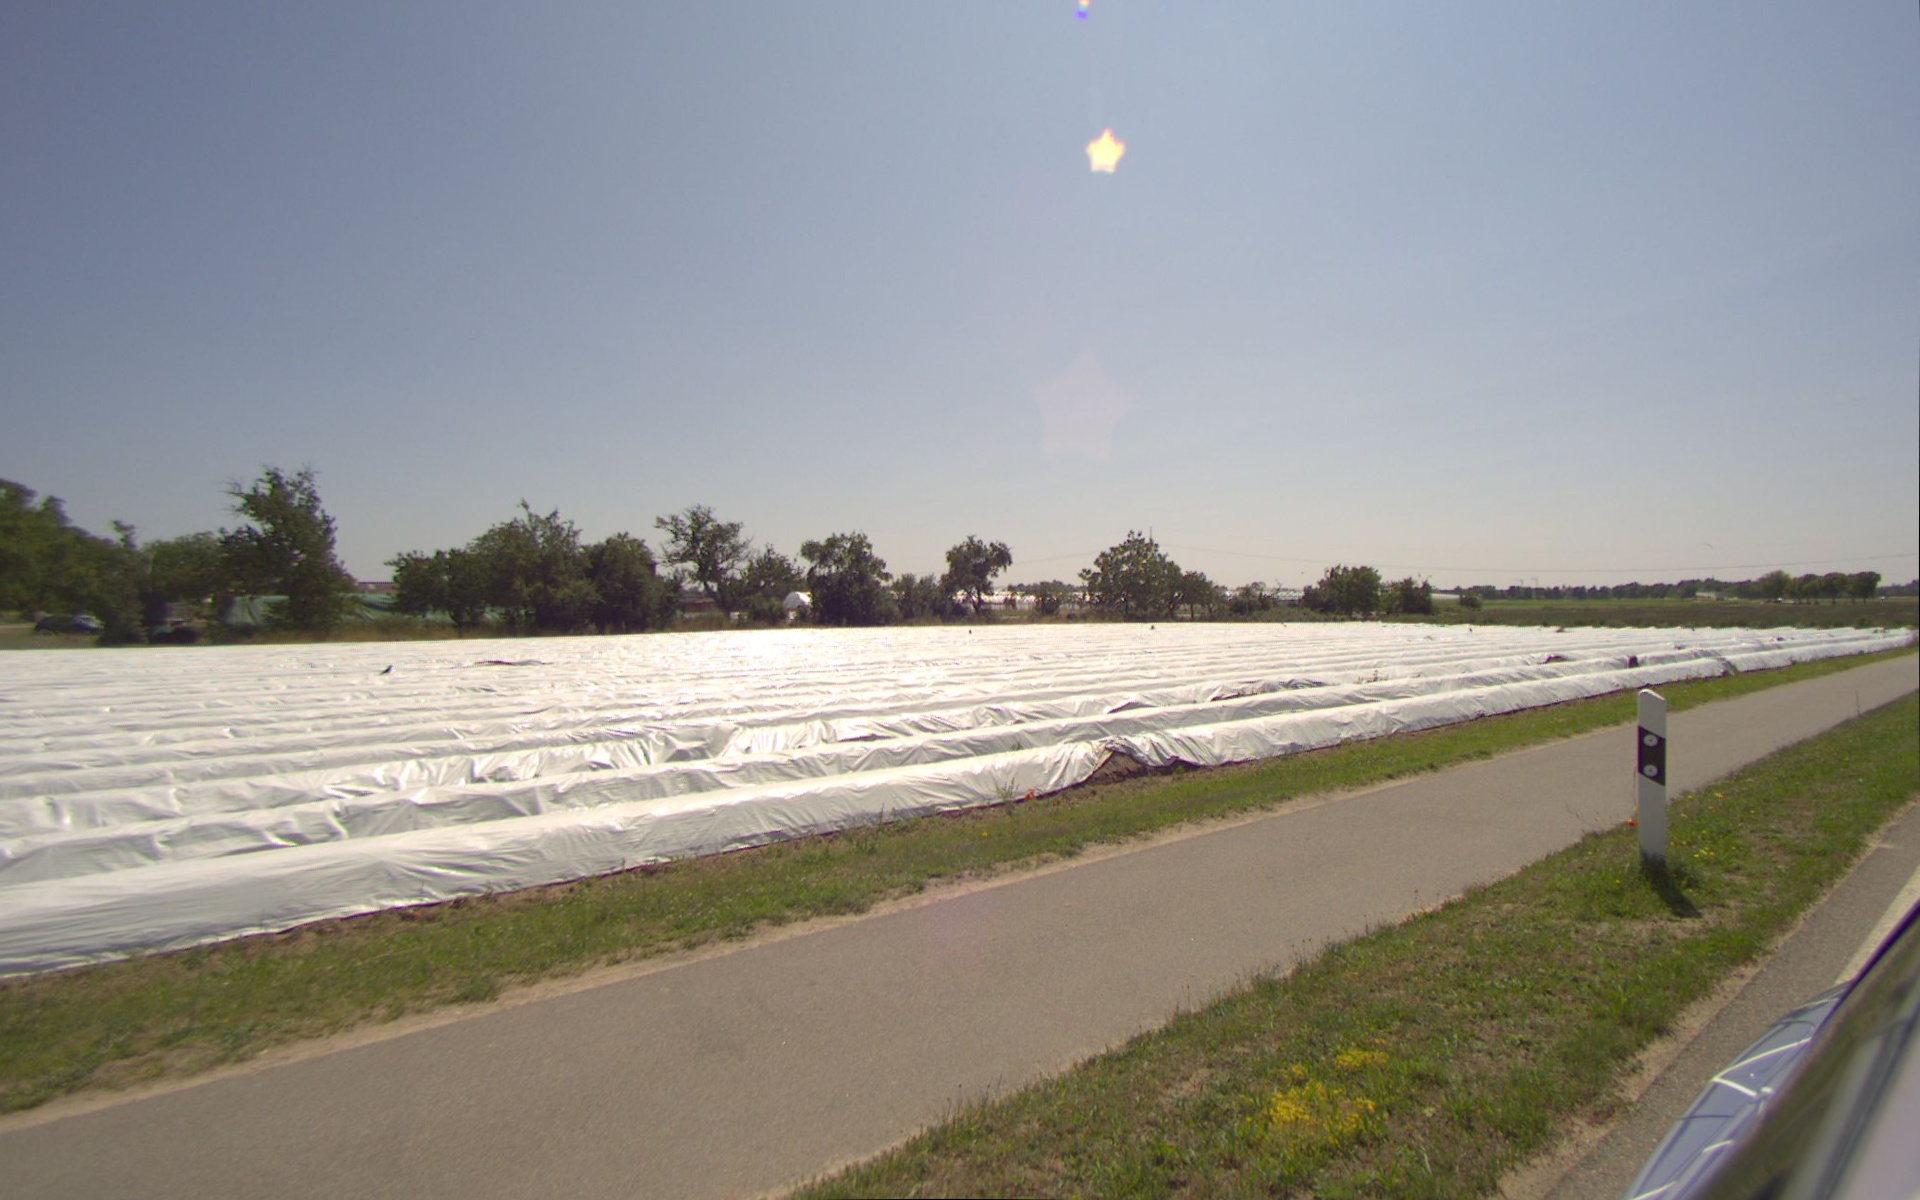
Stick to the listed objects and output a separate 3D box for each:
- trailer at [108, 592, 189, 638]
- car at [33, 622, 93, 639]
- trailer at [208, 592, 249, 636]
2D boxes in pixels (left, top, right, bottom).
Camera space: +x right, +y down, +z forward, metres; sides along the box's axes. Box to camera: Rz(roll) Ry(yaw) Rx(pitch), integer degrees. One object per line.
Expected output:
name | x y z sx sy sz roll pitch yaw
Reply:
trailer | -62.782 1.134 78.542 3.192 3.335 7.452 -1 -1 -25
car | -67.434 2.259 76.112 3.217 1.213 1.296 0 -1 -35
trailer | -75.200 1.472 103.971 3.100 4.275 7.434 -1 -1 -38
